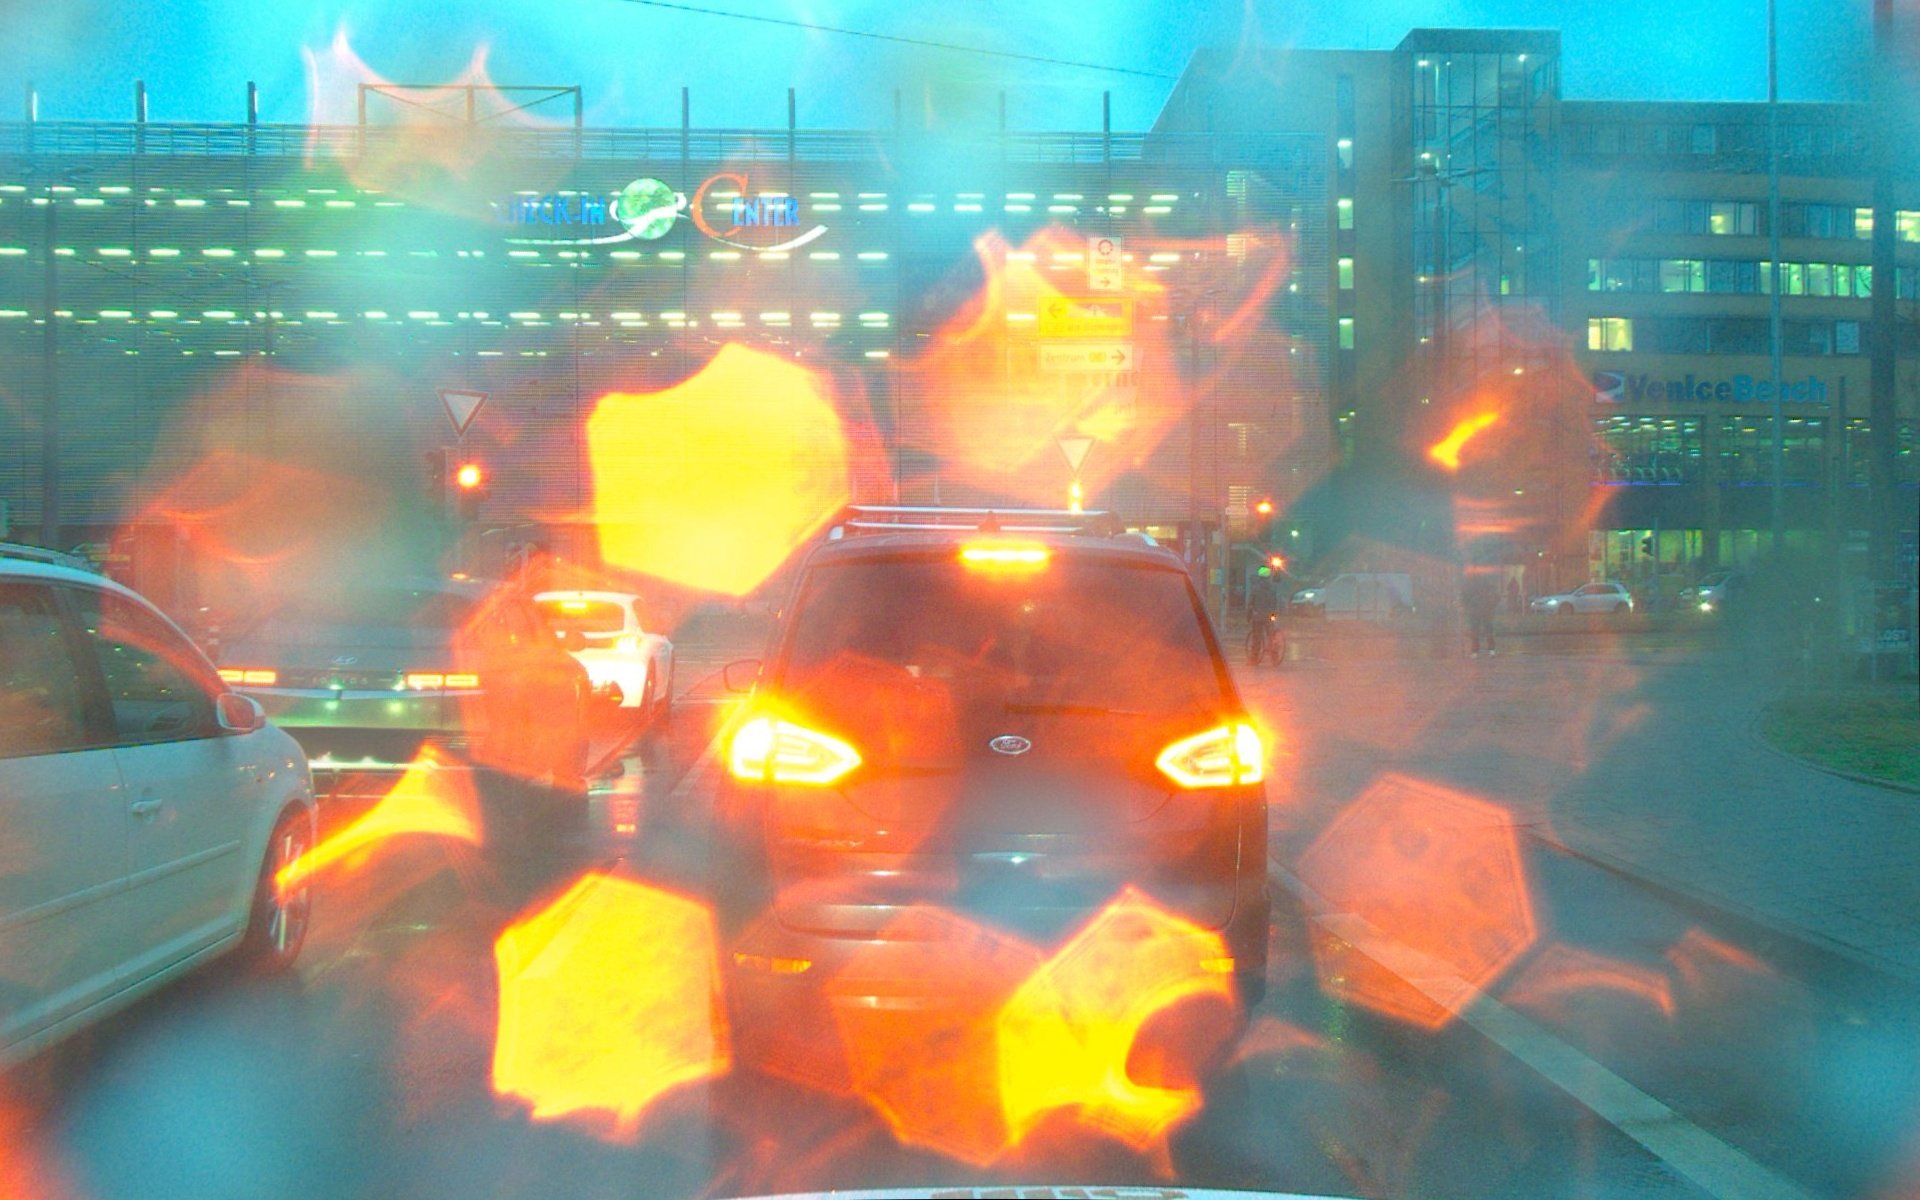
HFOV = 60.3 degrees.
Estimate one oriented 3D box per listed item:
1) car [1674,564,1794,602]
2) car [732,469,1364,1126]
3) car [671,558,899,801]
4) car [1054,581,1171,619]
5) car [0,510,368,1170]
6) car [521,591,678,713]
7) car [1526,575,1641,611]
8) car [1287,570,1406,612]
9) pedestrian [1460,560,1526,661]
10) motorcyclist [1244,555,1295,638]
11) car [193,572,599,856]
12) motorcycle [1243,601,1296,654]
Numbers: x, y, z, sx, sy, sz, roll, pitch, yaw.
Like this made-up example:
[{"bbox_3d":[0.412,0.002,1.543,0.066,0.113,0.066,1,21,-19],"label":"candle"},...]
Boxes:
[{"bbox_3d":[32.764,-0.713,70.050,4.348,1.561,1.797,-1,0,-8],"label":"car"},{"bbox_3d":[0.145,0.538,6.690,1.700,1.768,4.244,2,0,-3],"label":"car"},{"bbox_3d":[-1.411,0.575,13.679,1.604,1.726,3.667,1,0,-5],"label":"car"},{"bbox_3d":[6.033,-0.009,65.732,4.336,1.414,1.797,-1,0,-8],"label":"car"},{"bbox_3d":[-3.292,0.576,5.013,1.637,1.689,4.146,2,1,-3],"label":"car"},{"bbox_3d":[-4.139,0.539,19.445,1.512,1.273,4.060,0,0,-8],"label":"car"},{"bbox_3d":[25.816,-0.287,68.571,4.136,1.414,1.797,-1,0,-8],"label":"car"},{"bbox_3d":[15.555,-0.359,66.728,4.336,1.623,1.797,-1,0,-8],"label":"car"},{"bbox_3d":[10.691,0.211,33.173,1.146,1.957,0.898,2,0,22],"label":"pedestrian"},{"bbox_3d":[5.934,-0.066,31.753,0.850,1.561,1.109,0,0,5],"label":"motorcyclist"},{"bbox_3d":[-3.652,0.637,11.451,1.718,1.601,3.996,0,0,-5],"label":"car"},{"bbox_3d":[5.932,0.518,31.738,0.835,0.989,1.582,0,0,5],"label":"motorcycle"}]
